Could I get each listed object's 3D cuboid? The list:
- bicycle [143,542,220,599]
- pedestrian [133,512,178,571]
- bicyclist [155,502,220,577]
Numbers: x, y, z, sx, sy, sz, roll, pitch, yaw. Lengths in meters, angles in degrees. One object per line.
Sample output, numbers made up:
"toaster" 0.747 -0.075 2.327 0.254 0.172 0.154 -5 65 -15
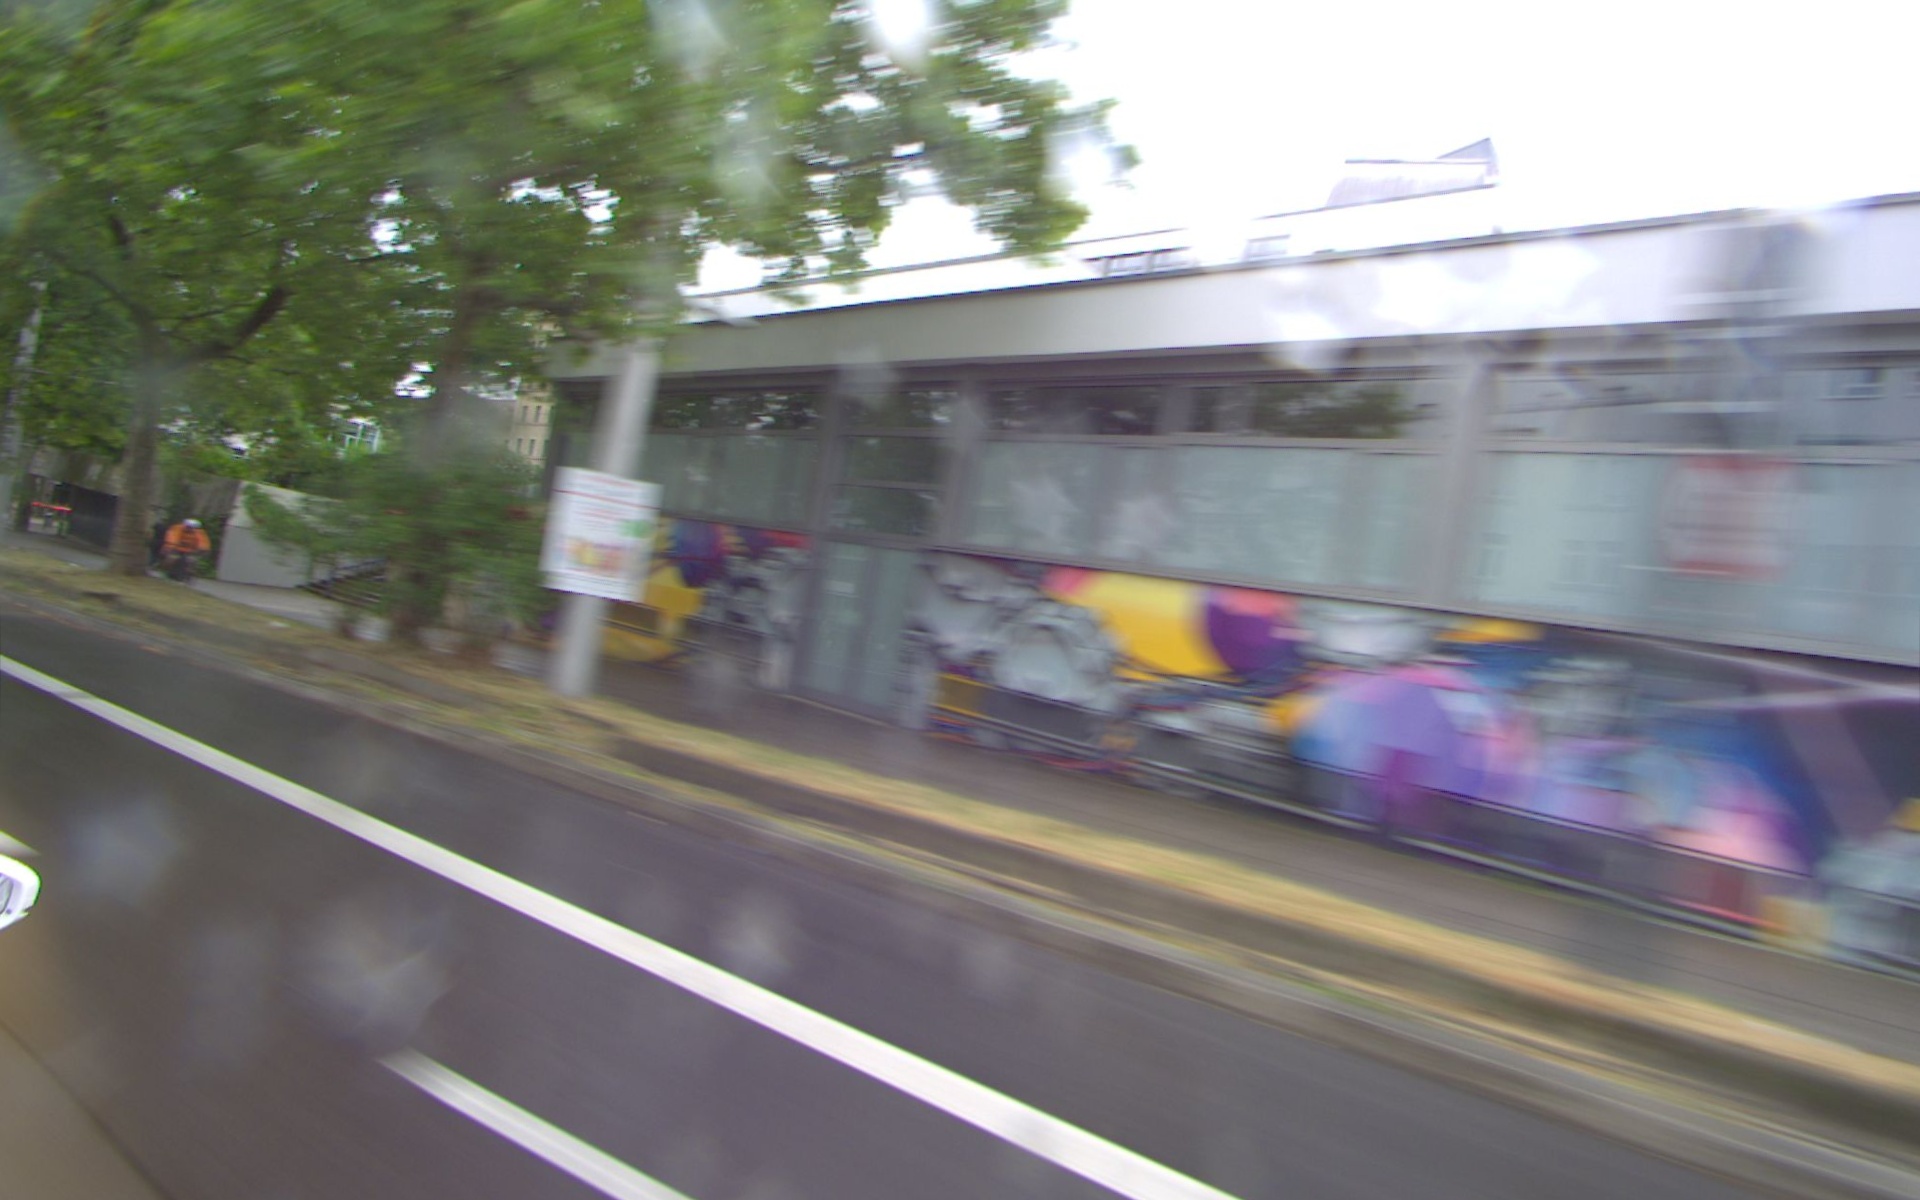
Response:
"bicycle" -18.961 -0.732 24.495 2.164 1.124 0.807 7 -2 36
"pedestrian" -27.654 -2.010 34.581 1.040 1.886 0.807 7 -1 39
"bicyclist" -18.755 -1.472 24.427 1.030 1.646 0.807 7 -2 36
